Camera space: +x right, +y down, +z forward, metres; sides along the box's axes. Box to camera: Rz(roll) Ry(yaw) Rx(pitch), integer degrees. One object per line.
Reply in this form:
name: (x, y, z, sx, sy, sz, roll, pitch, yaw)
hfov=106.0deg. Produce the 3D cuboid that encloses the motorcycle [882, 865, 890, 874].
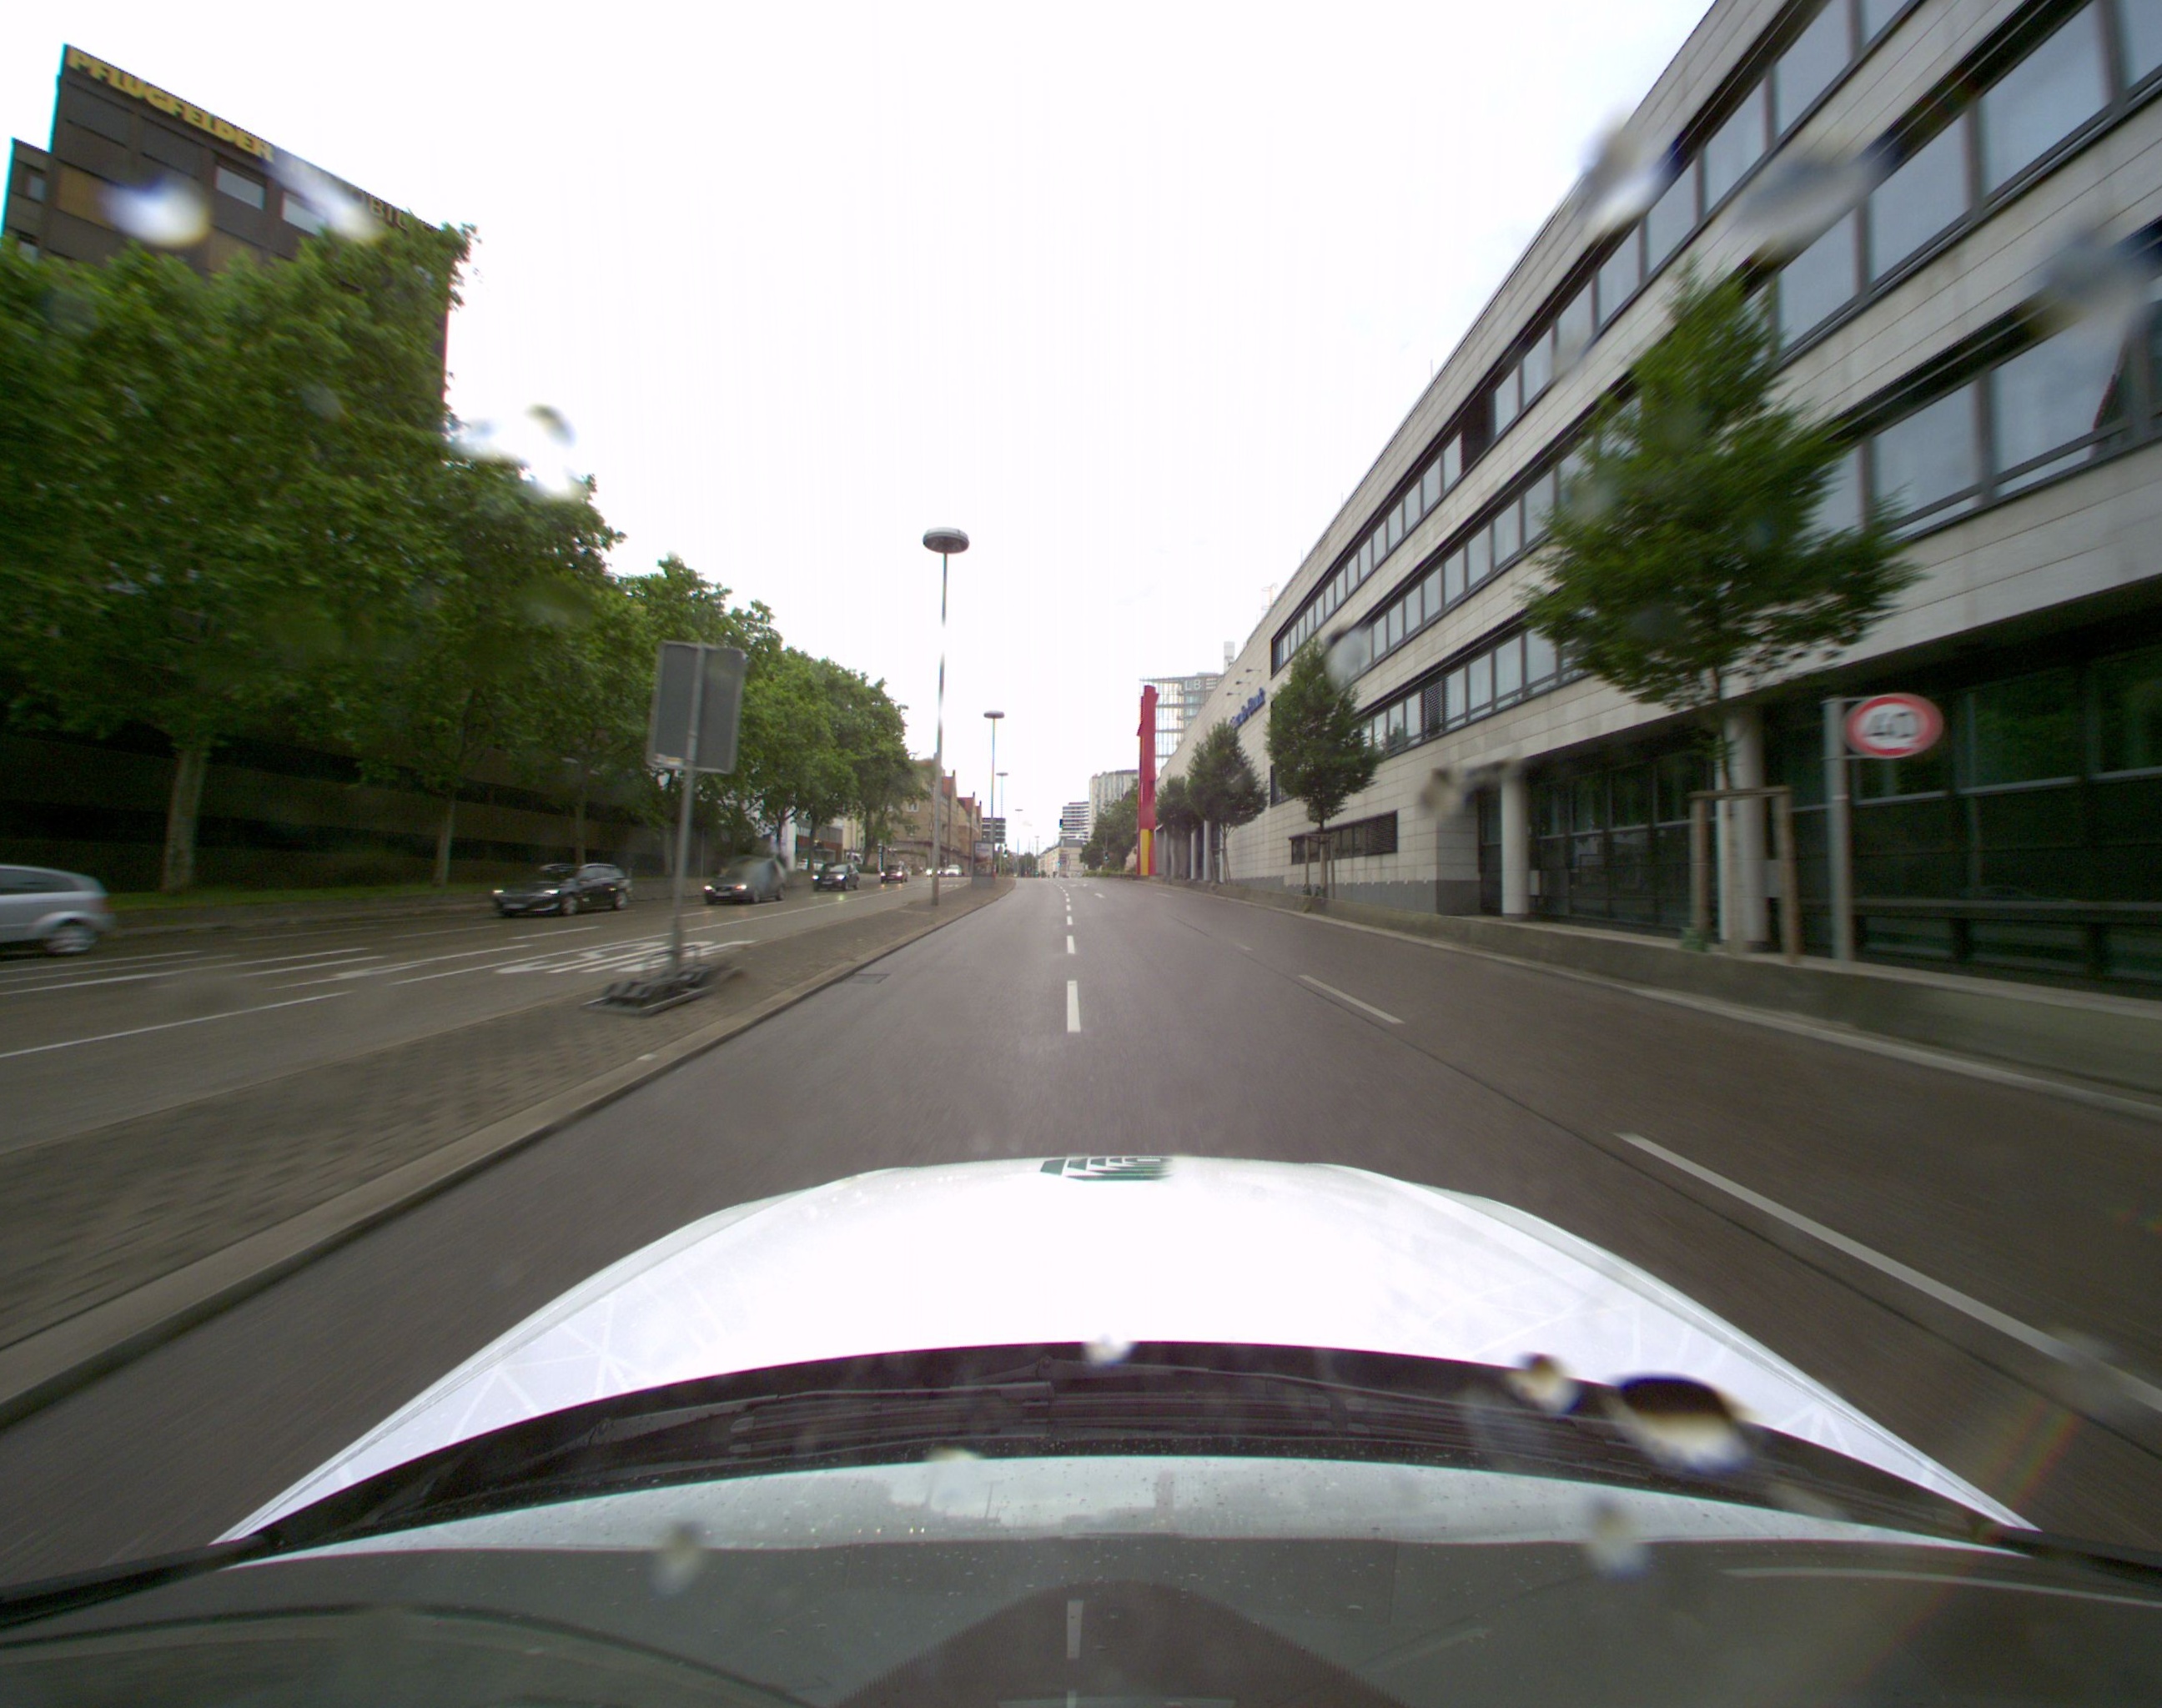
motorcycle: (-26.540, 2.082, 110.868, 0.779, 1.257, 2.989, 0, 0, -7)

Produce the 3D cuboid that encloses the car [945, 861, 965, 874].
car: (-15.437, 1.657, 99.886, 1.813, 1.469, 4.000, -1, -2, 1)

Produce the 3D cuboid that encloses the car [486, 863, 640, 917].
car: (-15.254, 0.993, 24.338, 1.740, 1.446, 4.721, 0, -1, -3)

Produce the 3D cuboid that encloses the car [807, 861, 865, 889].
car: (-13.022, 1.114, 43.576, 1.813, 1.403, 4.000, -1, -2, 1)

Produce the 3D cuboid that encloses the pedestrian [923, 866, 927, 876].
pedestrian: (-24.101, 2.638, 125.691, 0.497, 1.611, 0.500, 1, -2, 1)

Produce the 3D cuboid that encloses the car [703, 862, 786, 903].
car: (-12.399, 0.999, 30.227, 1.684, 1.410, 3.993, -1, 0, -5)

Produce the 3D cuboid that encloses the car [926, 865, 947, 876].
car: (-18.763, 2.130, 105.931, 1.813, 1.385, 4.000, -1, -2, 1)

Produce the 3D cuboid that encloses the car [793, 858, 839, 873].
car: (-28.990, 1.283, 89.290, 1.801, 1.511, 4.607, -3, -2, 37)

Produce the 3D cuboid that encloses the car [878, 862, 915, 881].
car: (-14.322, 1.393, 63.369, 1.813, 1.403, 4.000, -1, -2, 1)

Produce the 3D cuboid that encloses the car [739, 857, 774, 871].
car: (-34.918, 1.075, 87.628, 1.262, 1.426, 3.210, -3, -2, 44)

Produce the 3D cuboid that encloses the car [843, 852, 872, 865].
car: (-31.894, 0.626, 116.278, 3.622, 1.701, 1.822, -1, -2, -5)

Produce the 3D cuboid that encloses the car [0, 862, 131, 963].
car: (-17.257, 0.902, 12.163, 1.591, 1.491, 3.759, 1, 0, 3)

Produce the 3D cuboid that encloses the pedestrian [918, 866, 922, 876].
pedestrian: (-24.864, 2.629, 125.709, 0.497, 1.611, 0.500, 1, -2, 1)
